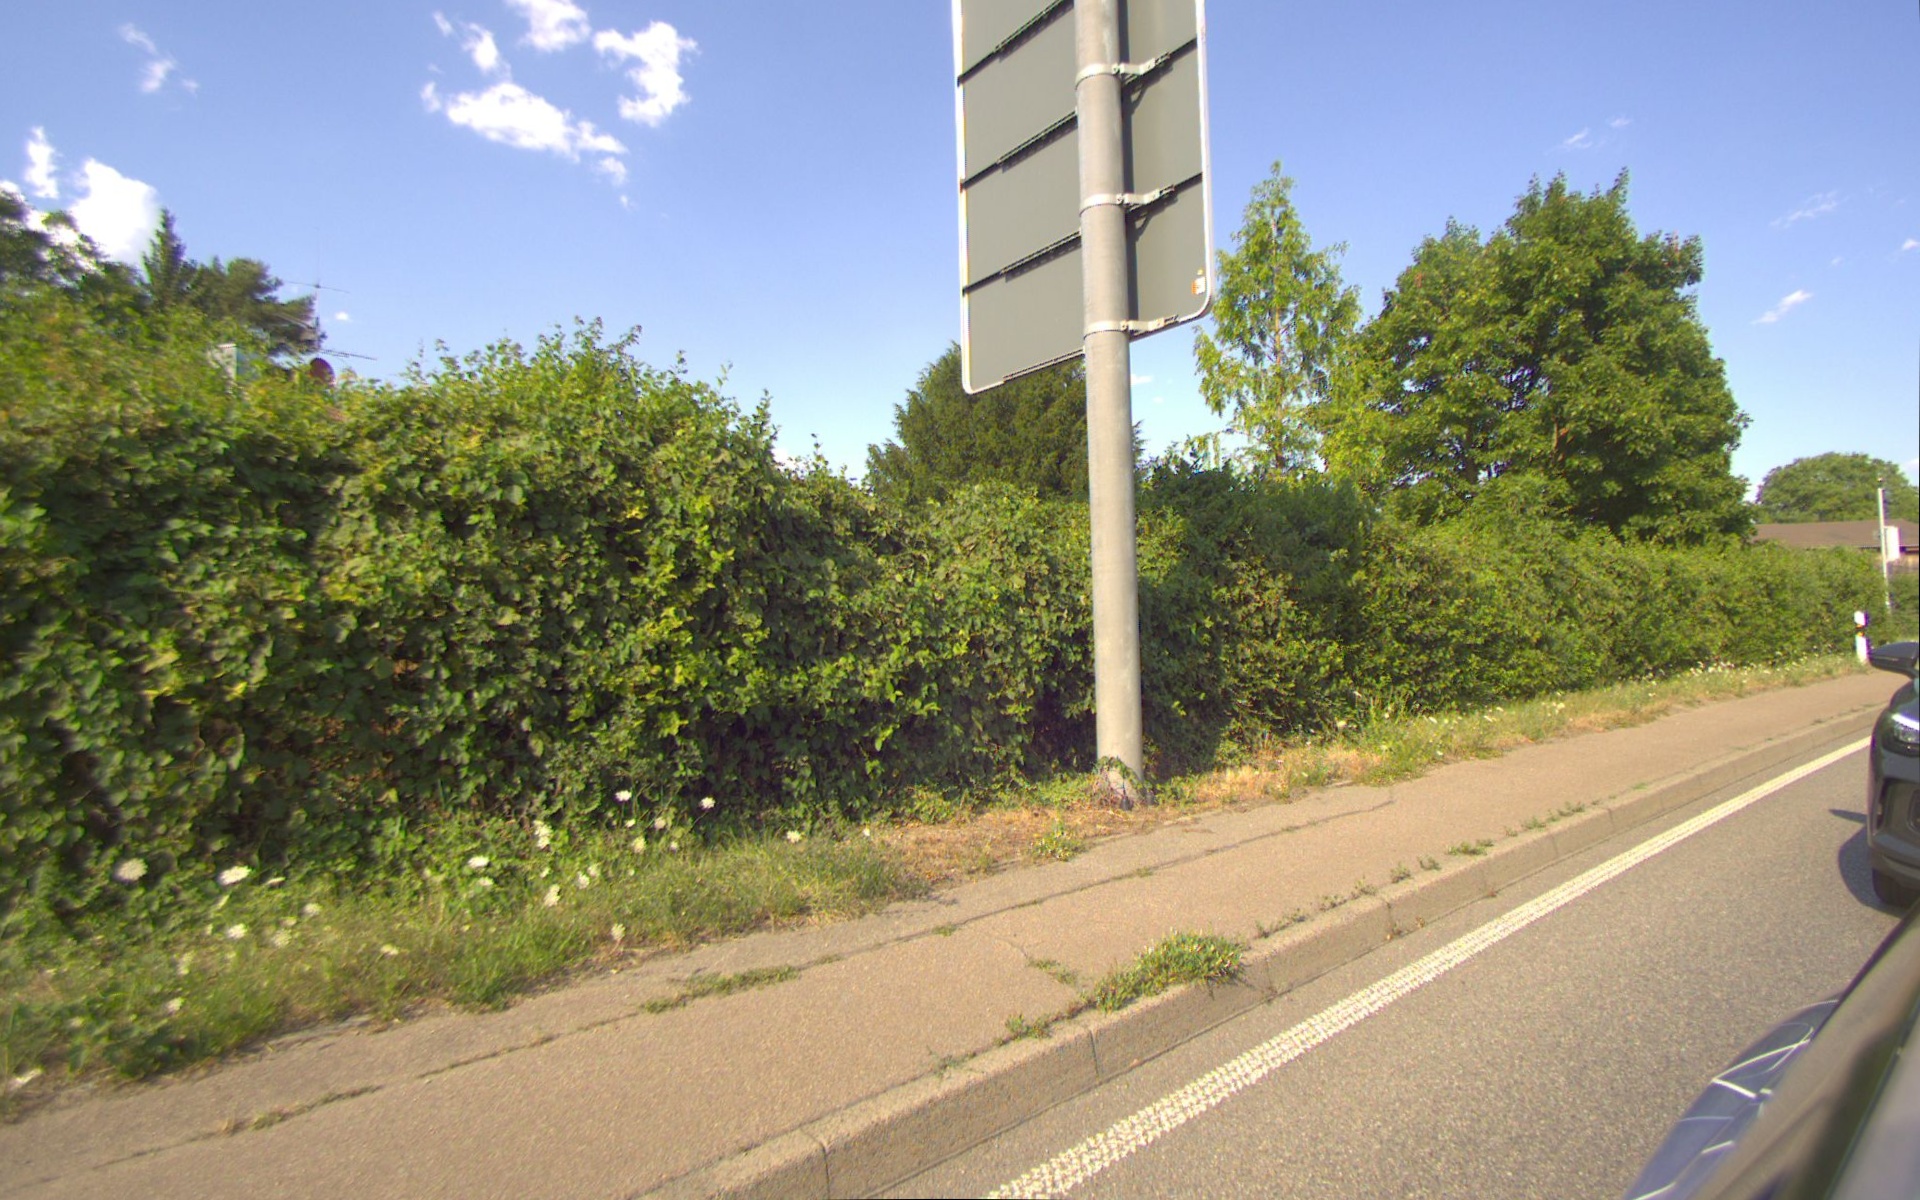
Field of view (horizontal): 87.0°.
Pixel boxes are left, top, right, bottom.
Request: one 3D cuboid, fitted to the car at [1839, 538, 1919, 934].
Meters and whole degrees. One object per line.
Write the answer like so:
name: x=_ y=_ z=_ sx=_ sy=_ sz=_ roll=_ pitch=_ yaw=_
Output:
car: x=5.959 y=0.541 z=4.984 sx=3.930 sy=1.662 sz=1.865 roll=-2 pitch=2 yaw=-40
